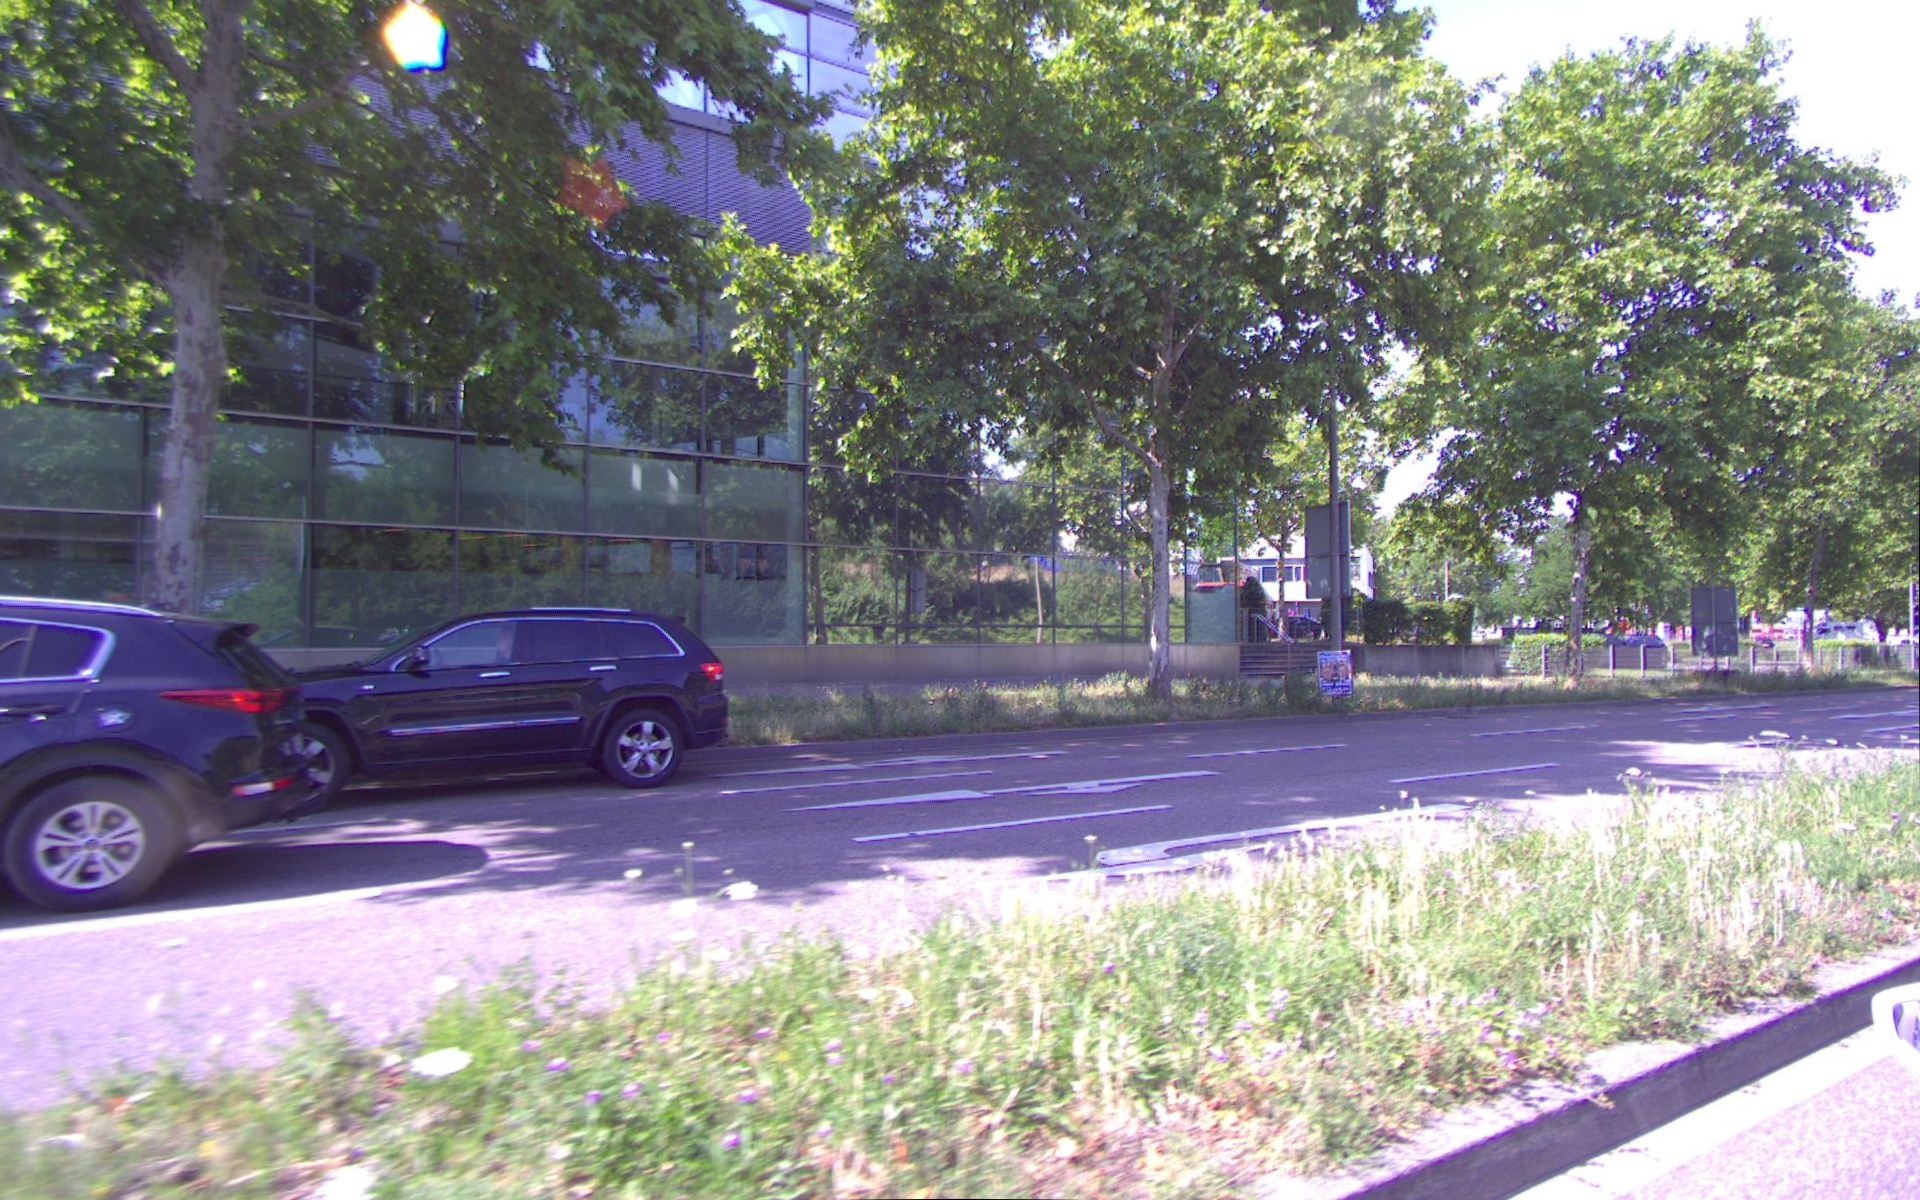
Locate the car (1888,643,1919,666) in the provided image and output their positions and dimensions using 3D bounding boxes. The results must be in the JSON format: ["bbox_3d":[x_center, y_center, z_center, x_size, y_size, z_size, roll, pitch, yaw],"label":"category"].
[{"bbox_3d":[64.159,3.603,66.253,1.751,1.483,3.970,1,-2,-29],"label":"car"}]

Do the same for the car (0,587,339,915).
[{"bbox_3d":[-6.010,0.776,5.427,4.444,1.632,1.984,1,-2,-31],"label":"car"}]

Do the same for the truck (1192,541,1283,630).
[{"bbox_3d":[12.300,-0.429,43.965,2.622,3.440,8.986,0,-2,23],"label":"truck"}]

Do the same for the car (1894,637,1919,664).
[{"bbox_3d":[66.612,3.488,68.364,2.128,1.847,3.974,2,-1,-26],"label":"car"}]

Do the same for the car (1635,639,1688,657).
[{"bbox_3d":[67.991,4.589,97.415,1.774,1.524,3.989,-1,0,-14],"label":"car"}]

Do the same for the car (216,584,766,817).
[{"bbox_3d":[-4.477,0.873,10.097,4.597,1.859,1.984,1,-3,-31],"label":"car"}]
